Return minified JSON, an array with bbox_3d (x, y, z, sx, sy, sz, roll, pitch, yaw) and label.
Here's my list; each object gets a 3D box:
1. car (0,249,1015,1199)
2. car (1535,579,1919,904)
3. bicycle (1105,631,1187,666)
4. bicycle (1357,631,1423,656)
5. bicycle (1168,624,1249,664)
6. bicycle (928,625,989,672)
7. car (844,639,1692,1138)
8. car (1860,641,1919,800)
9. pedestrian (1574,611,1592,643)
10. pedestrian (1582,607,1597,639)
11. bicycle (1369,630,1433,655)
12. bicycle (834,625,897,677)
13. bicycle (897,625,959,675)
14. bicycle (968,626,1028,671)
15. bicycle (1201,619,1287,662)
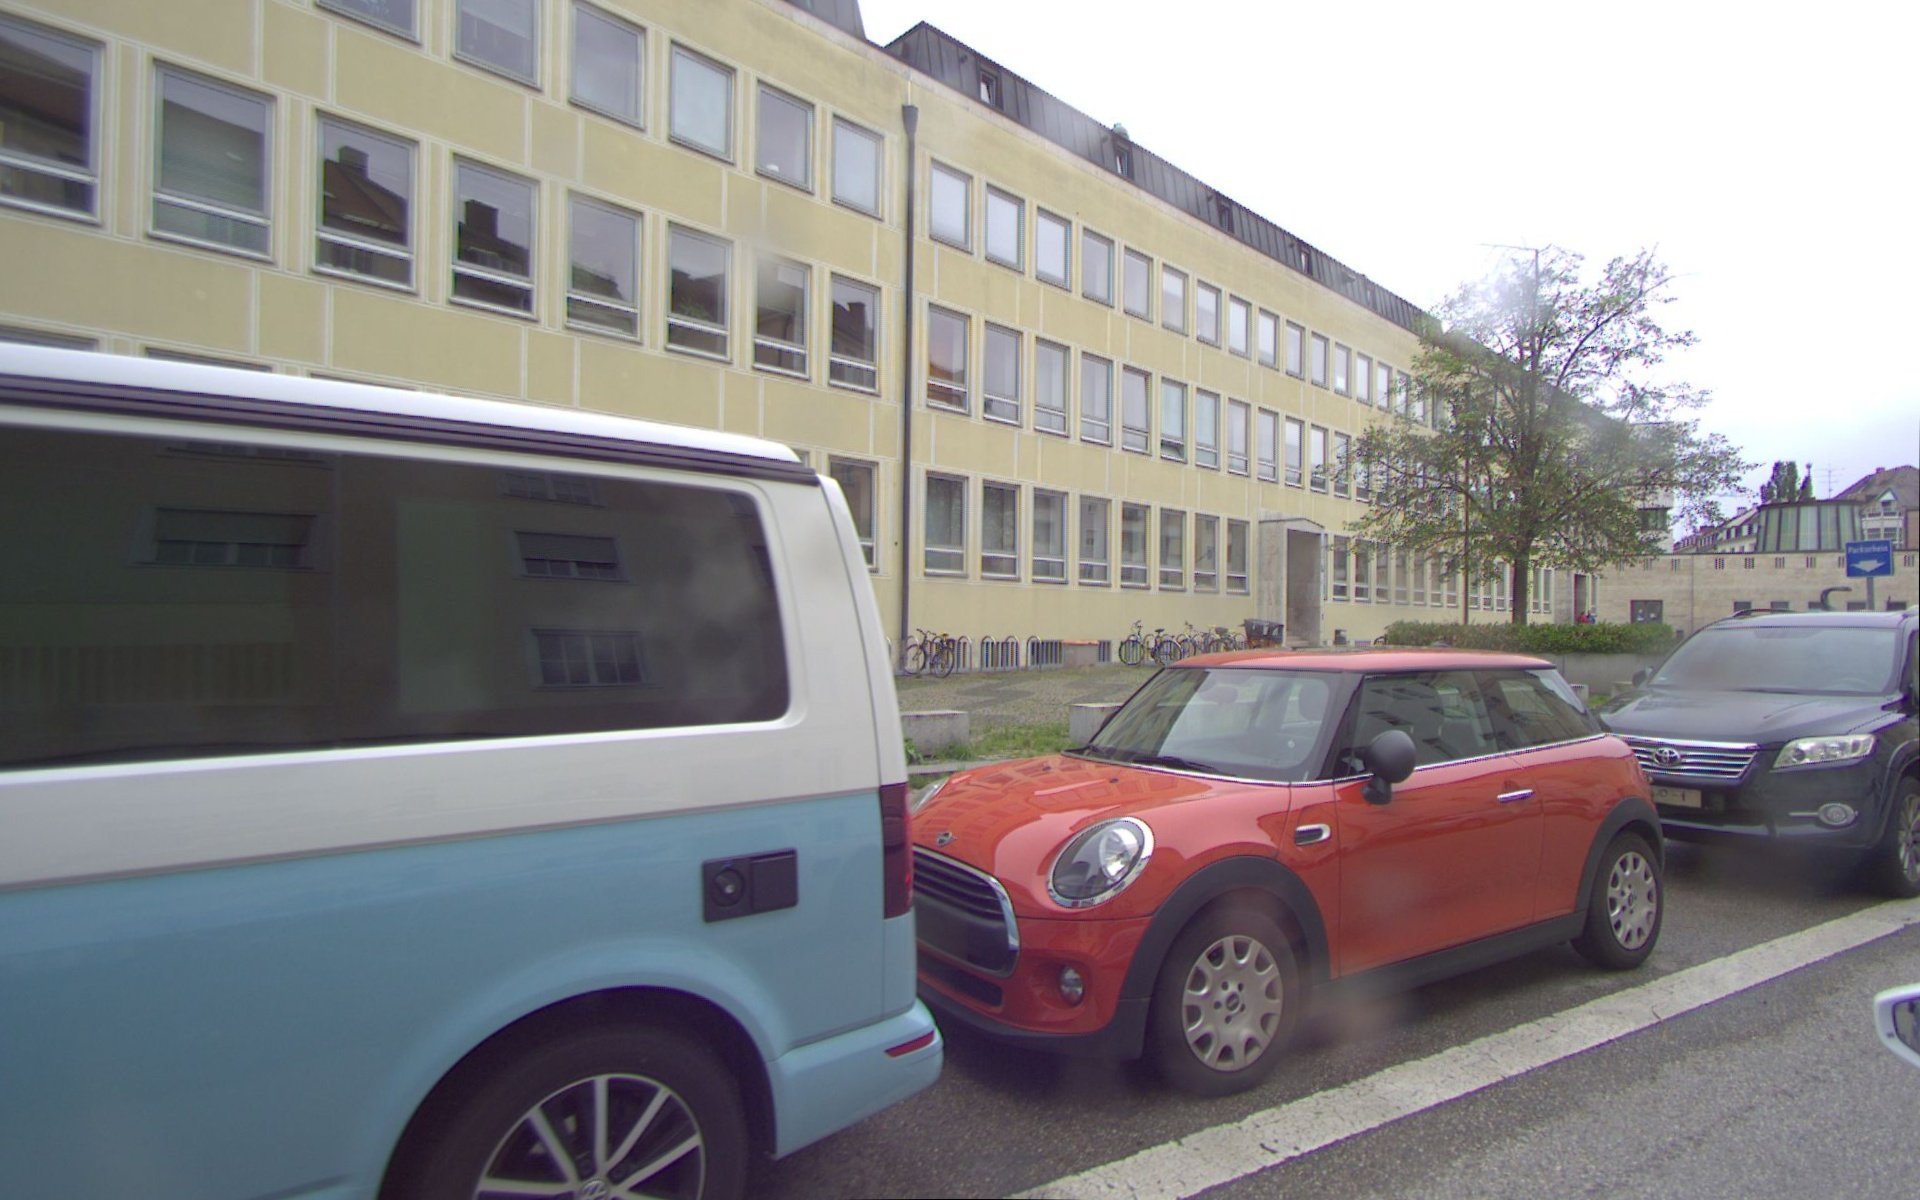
[{"bbox_3d":[-2.273,0.468,2.115,4.550,1.957,1.873,1,-3,-32],"label":"car"},{"bbox_3d":[6.026,0.810,7.074,3.981,1.713,1.693,1,-3,-31],"label":"car"},{"bbox_3d":[4.871,1.264,26.400,2.181,0.846,0.492,0,-2,43],"label":"bicycle"},{"bbox_3d":[15.746,1.575,36.790,2.181,0.846,0.492,0,-2,43],"label":"bicycle"},{"bbox_3d":[6.843,1.208,27.767,2.181,1.051,0.492,0,-2,43],"label":"bicycle"},{"bbox_3d":[-0.041,1.054,22.100,0.364,0.968,1.512,1,0,-45],"label":"bicycle"},{"bbox_3d":[1.461,0.884,4.500,3.610,1.391,1.644,1,-3,-31],"label":"car"},{"bbox_3d":[10.445,1.106,9.651,3.755,1.430,1.616,1,-3,-31],"label":"car"},{"bbox_3d":[34.358,1.494,55.397,0.638,1.759,0.663,1,1,-45],"label":"pedestrian"},{"bbox_3d":[35.224,1.267,56.226,0.590,1.759,0.663,3,1,29],"label":"pedestrian"},{"bbox_3d":[16.368,1.565,37.313,2.095,0.846,0.644,0,-2,43],"label":"bicycle"},{"bbox_3d":[-1.917,1.006,20.265,0.364,0.968,1.512,1,0,-45],"label":"bicycle"},{"bbox_3d":[-0.687,1.035,21.096,0.364,0.968,1.512,1,0,-45],"label":"bicycle"},{"bbox_3d":[0.852,1.092,22.997,0.364,0.968,1.512,1,0,-45],"label":"bicycle"},{"bbox_3d":[8.404,1.177,29.813,1.040,1.184,2.224,1,0,-45],"label":"bicycle"}]
